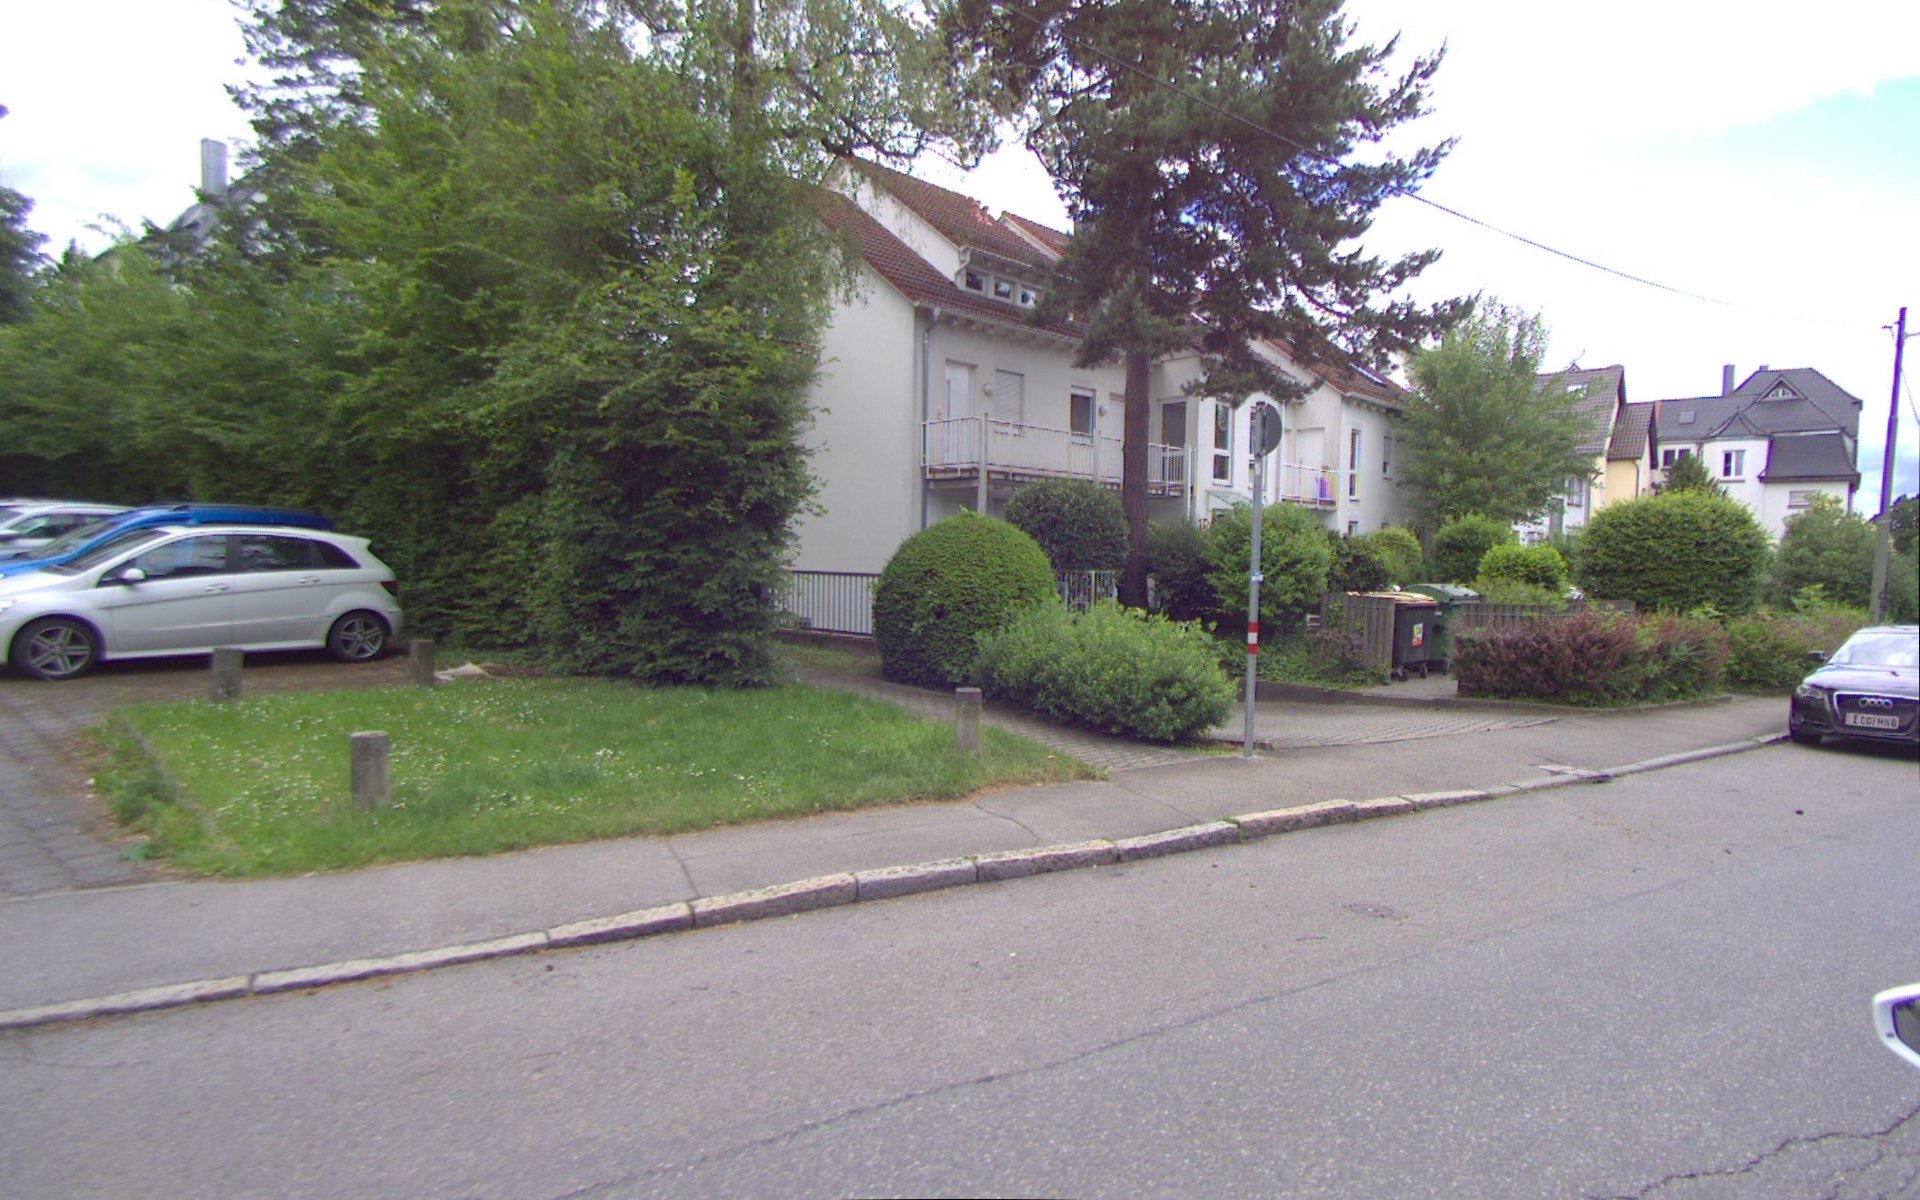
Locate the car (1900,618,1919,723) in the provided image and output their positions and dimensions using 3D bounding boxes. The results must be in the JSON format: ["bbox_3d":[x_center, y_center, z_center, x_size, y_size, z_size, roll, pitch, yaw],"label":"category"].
[{"bbox_3d":[15.584,1.049,14.944,4.293,1.461,1.637,1,1,-38],"label":"car"}]

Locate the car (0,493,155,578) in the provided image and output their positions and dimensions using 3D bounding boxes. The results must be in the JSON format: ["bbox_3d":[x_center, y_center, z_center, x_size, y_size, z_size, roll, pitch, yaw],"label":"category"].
[{"bbox_3d":[-20.328,-1.382,21.505,1.721,1.754,4.604,4,3,40],"label":"car"}]

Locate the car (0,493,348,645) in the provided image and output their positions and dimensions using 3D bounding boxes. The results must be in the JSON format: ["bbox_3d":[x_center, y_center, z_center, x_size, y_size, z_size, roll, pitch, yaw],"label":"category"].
[{"bbox_3d":[-10.824,-0.432,13.398,1.717,1.756,4.251,4,3,33],"label":"car"}]

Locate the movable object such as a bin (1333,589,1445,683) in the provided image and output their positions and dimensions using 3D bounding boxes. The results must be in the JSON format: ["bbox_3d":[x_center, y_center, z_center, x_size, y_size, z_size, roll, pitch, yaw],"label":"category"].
[{"bbox_3d":[6.874,0.541,16.104,1.381,1.382,1.105,-1,4,-39],"label":"movable object such as a bin"}]

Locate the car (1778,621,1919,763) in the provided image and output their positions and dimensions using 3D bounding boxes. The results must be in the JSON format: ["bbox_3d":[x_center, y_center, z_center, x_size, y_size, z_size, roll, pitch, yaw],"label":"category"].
[{"bbox_3d":[11.614,1.013,12.063,4.461,1.437,1.722,1,1,-37],"label":"car"}]

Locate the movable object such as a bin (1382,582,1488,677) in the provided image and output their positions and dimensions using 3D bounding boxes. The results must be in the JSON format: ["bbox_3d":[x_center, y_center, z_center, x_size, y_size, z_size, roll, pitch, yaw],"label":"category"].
[{"bbox_3d":[8.056,0.459,17.039,1.440,1.487,1.084,-1,4,-39],"label":"movable object such as a bin"}]

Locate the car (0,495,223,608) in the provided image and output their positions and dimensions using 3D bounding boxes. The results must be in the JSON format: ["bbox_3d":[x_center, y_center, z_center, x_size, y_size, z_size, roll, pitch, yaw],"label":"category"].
[{"bbox_3d":[-14.975,-0.794,16.295,1.975,1.700,4.482,4,3,34],"label":"car"}]

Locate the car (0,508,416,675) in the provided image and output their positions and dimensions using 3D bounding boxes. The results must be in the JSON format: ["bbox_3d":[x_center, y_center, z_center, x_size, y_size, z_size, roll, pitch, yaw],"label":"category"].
[{"bbox_3d":[-8.863,-0.132,11.558,1.721,1.615,4.251,4,3,39],"label":"car"}]
